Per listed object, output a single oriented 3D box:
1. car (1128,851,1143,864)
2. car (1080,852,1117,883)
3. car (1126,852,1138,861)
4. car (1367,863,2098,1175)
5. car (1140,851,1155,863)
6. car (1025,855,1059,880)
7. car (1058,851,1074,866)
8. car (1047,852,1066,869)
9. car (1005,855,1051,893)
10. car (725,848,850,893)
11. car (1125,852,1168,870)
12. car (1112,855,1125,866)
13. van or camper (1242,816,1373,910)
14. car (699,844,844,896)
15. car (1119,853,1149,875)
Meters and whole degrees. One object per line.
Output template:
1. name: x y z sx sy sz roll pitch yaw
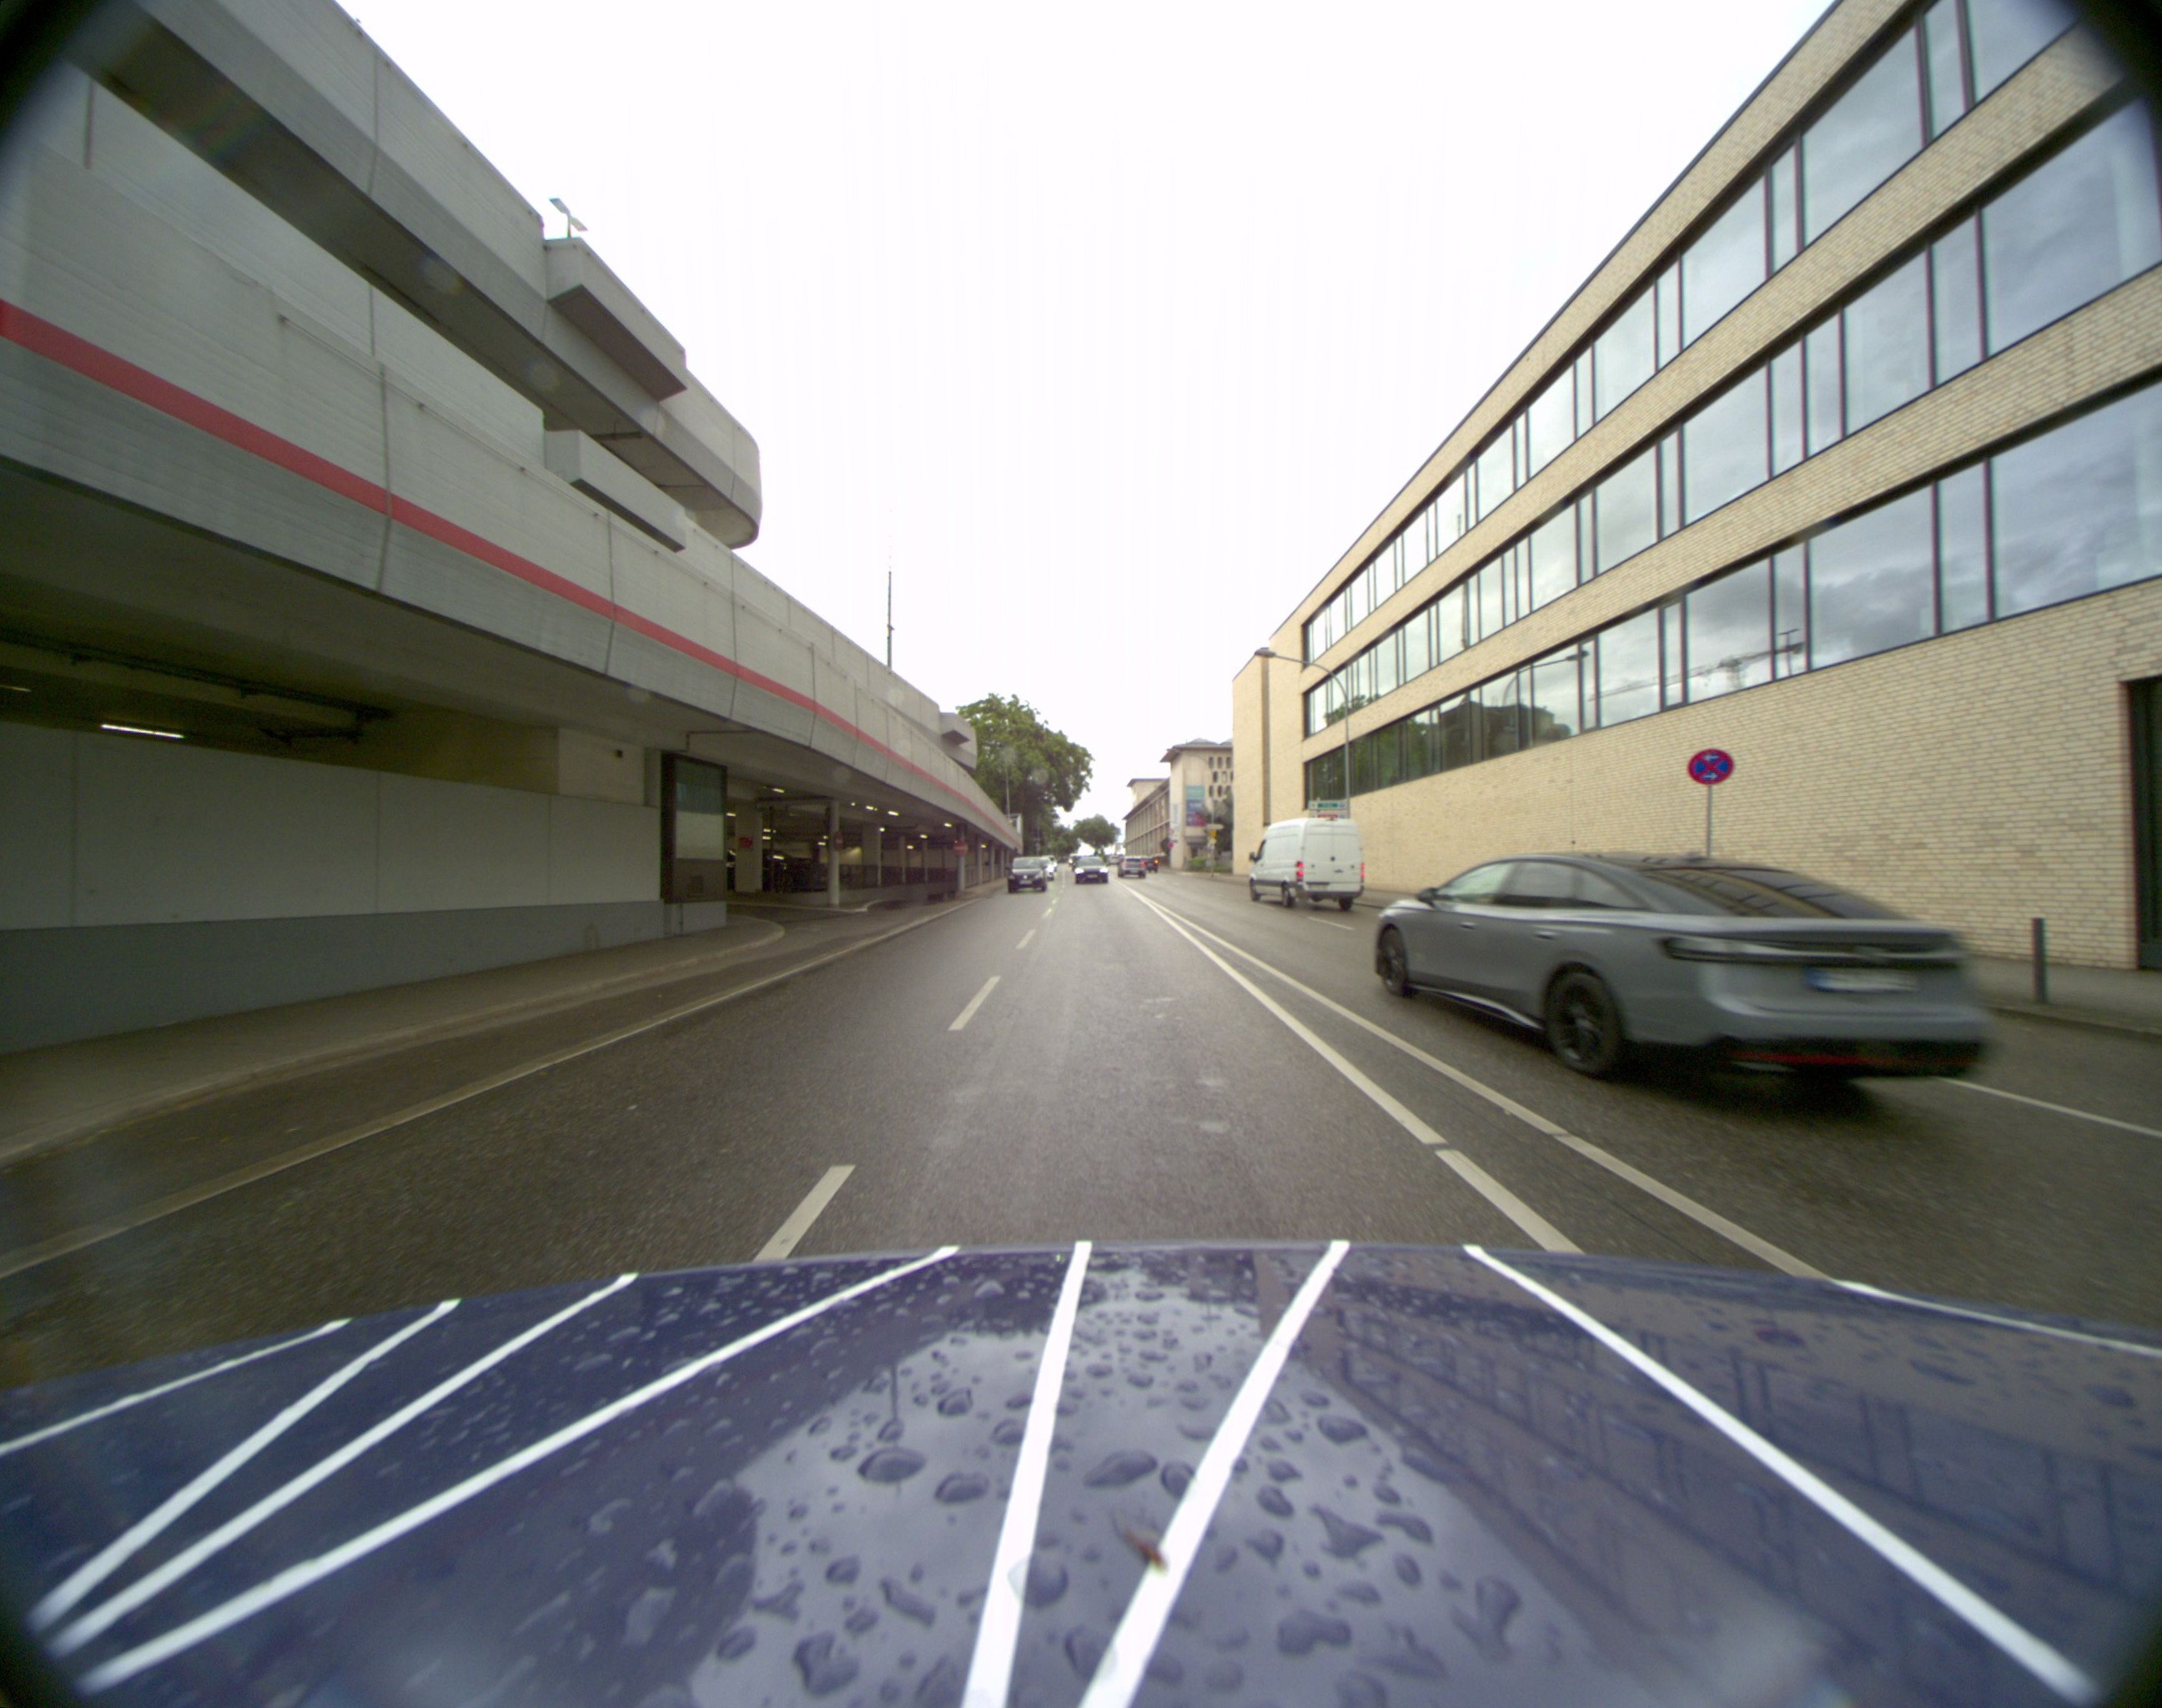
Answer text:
1. car: 8.691 0.513 120.768 1.998 1.819 3.999 -2 1 0
2. car: 0.924 0.720 41.321 1.852 1.516 3.990 -2 0 1
3. car: 8.662 0.465 129.683 1.800 1.516 4.056 -2 0 1
4. car: 4.180 0.878 6.142 1.888 1.489 4.561 1 0 -2
5. car: 9.124 0.472 104.381 1.800 1.516 4.056 -2 0 1
6. car: -2.501 0.848 49.658 1.915 1.443 4.036 -2 1 0
7. car: -2.095 0.598 104.870 1.998 2.002 3.999 -2 1 0
8. car: -2.536 0.645 78.205 1.727 1.628 3.999 -2 1 1
9. car: -2.316 0.863 34.253 1.683 1.516 3.990 -2 0 1
10. car: -11.817 0.713 30.706 4.251 1.650 2.003 -1 -4 10
11. car: 6.180 0.680 72.363 1.864 1.652 3.990 -2 1 -36
12. car: 5.677 0.996 116.072 1.800 1.516 4.056 -2 0 1
13. van or camper: 6.914 0.240 24.057 2.108 2.567 5.906 1 0 -3
14. car: -10.770 0.591 26.593 4.251 1.650 2.003 -1 -4 10
15. car: 3.638 0.661 52.761 1.745 1.461 3.881 1 0 -1
